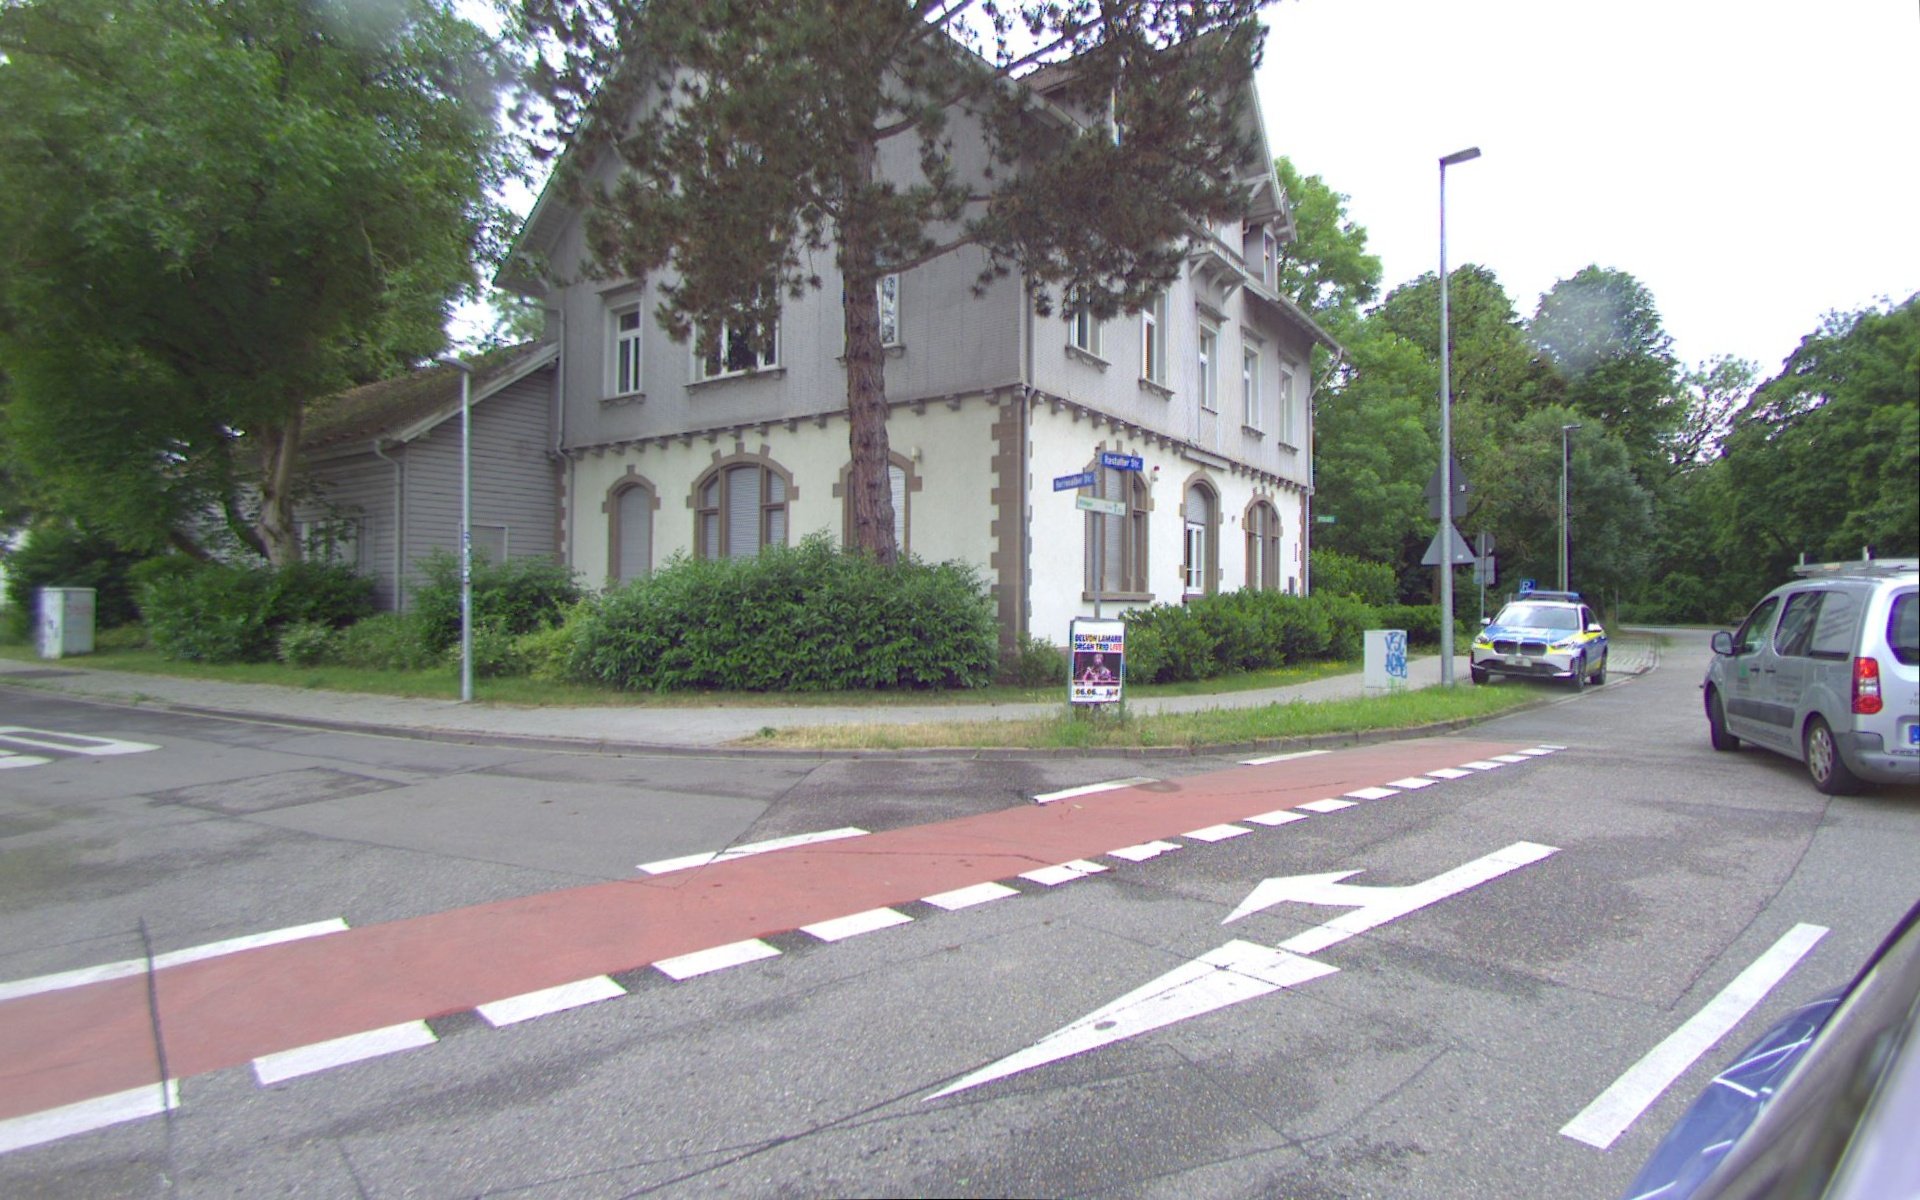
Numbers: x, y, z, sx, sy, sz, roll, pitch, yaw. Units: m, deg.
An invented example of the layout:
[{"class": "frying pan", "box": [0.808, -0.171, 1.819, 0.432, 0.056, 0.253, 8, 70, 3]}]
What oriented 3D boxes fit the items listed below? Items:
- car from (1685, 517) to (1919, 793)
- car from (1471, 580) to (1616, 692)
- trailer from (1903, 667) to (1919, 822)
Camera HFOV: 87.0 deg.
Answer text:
[{"class": "car", "box": [7.975, 0.369, 8.556, 2.071, 1.881, 4.190, 0, 0, 23]}, {"class": "car", "box": [11.299, 0.609, 19.484, 1.926, 1.873, 3.947, 3, 1, 37]}, {"class": "trailer", "box": [7.116, 0.963, 5.001, 1.541, 0.998, 3.467, -1, 1, -3]}]
